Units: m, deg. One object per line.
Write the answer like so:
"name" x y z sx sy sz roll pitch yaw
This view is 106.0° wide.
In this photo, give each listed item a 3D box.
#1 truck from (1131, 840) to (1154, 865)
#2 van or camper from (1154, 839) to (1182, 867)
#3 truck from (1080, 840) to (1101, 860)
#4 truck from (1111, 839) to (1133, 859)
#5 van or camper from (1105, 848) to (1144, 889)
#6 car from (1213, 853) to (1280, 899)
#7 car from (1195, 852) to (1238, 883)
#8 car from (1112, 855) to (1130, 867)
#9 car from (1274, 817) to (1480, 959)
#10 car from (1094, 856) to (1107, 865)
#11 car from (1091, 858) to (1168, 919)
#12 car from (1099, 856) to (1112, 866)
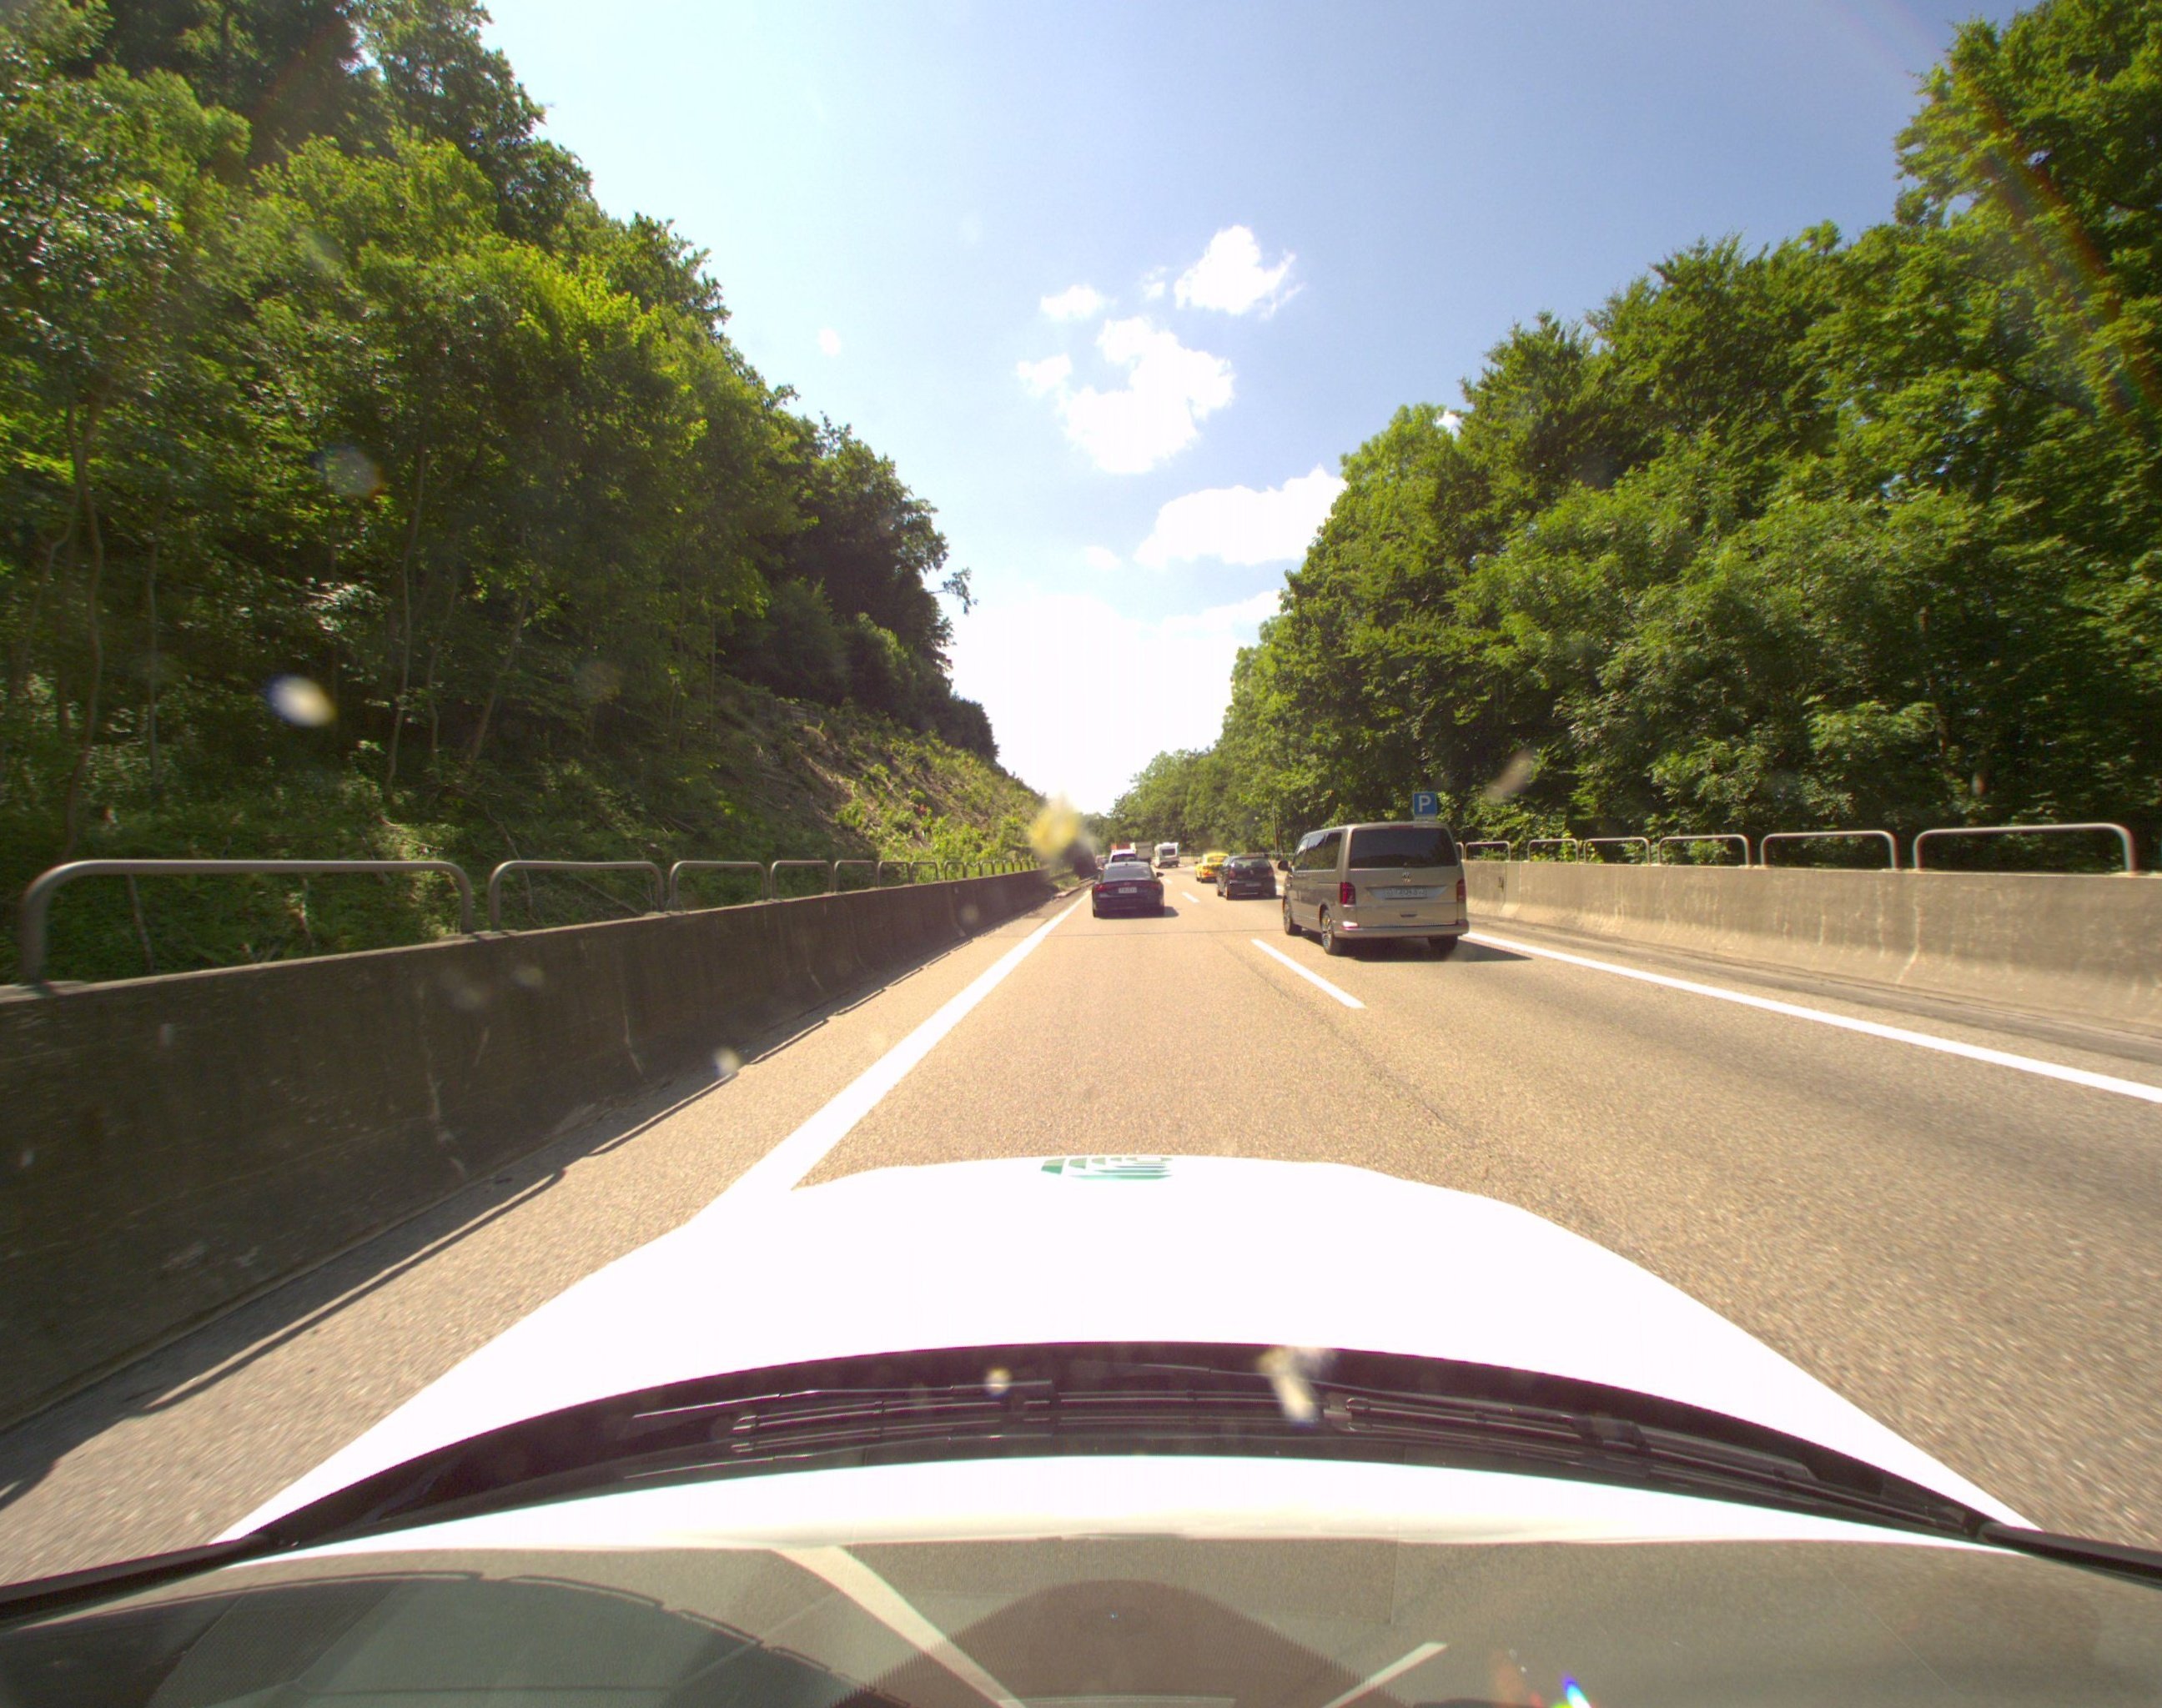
"truck" 9.396 -0.211 124.514 2.916 3.687 7.721 0 -1 0
"van or camper" 9.481 -0.095 89.271 2.594 2.855 6.338 -1 0 2
"truck" 2.196 -0.821 186.821 3.707 4.504 7.704 0 -1 -7
"truck" 7.226 -0.788 145.882 3.156 3.468 8.214 0 -1 -2
"van or camper" 2.213 0.693 40.950 1.845 1.942 4.169 -1 0 4
"car" 5.588 0.711 27.892 1.678 1.458 4.003 -1 0 3
"car" 6.940 0.679 42.157 1.800 1.478 4.086 -1 0 4
"car" 5.297 0.931 108.709 1.990 1.618 3.994 -1 0 -4
"car" 4.626 0.490 13.553 1.932 1.931 4.698 -1 0 3
"car" 3.280 1.119 138.898 1.749 1.571 3.763 -1 0 -6
"car" 1.260 0.878 22.574 1.898 1.489 4.380 -1 0 1
"car" 3.781 1.058 126.641 1.746 1.571 3.768 -1 0 -2
